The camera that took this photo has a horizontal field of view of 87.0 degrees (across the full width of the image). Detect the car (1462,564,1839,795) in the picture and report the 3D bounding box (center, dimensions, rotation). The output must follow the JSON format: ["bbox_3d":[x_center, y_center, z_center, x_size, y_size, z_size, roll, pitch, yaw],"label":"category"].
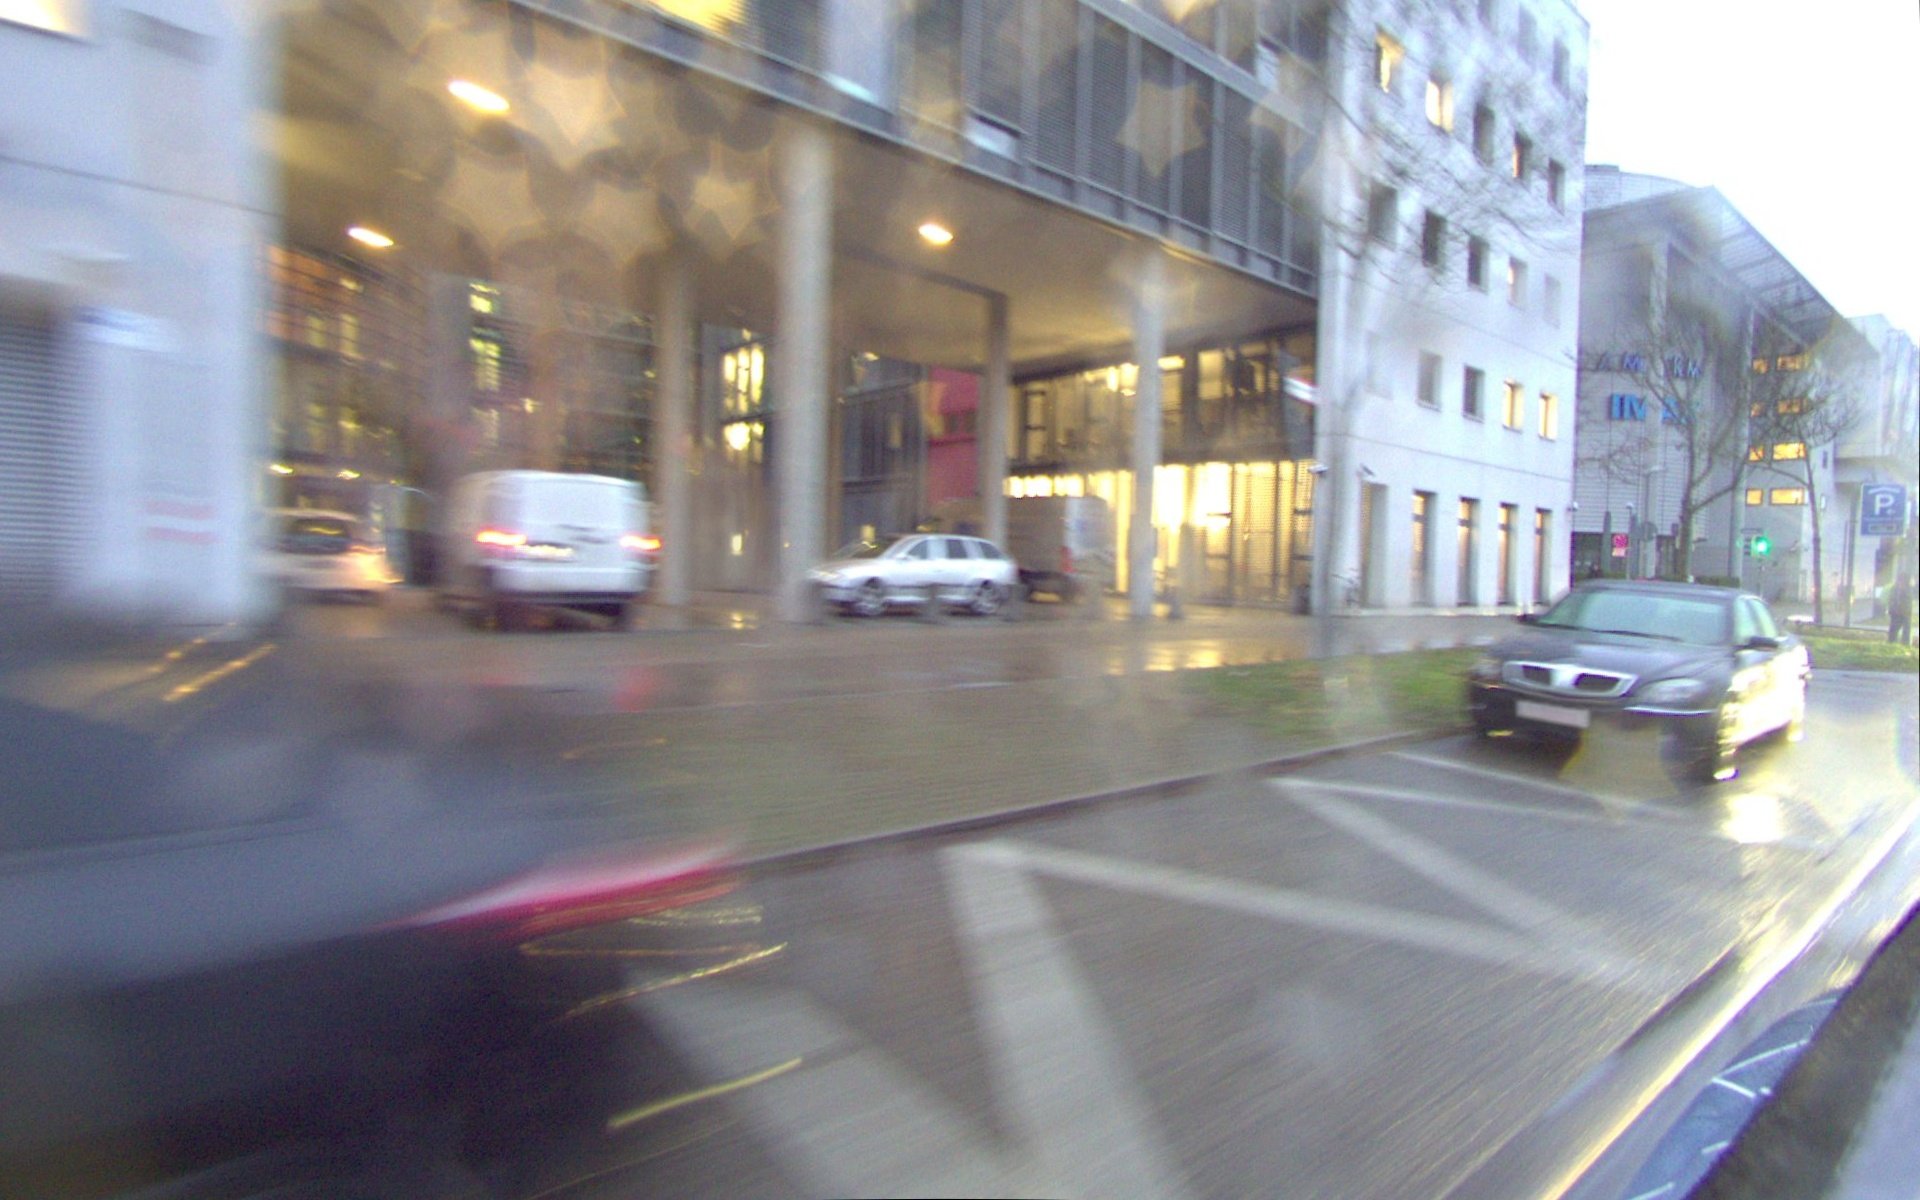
[{"bbox_3d":[5.992,0.476,8.584,4.155,1.458,1.599,-1,4,-41],"label":"car"}]

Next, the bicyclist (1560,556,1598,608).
[{"bbox_3d":[22.634,-0.646,37.011,0.822,1.845,0.733,3,0,-18],"label":"bicyclist"}]

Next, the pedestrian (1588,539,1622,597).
[{"bbox_3d":[19.864,-0.970,31.182,0.691,1.757,0.738,-2,1,-43],"label":"pedestrian"}]

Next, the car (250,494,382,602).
[{"bbox_3d":[-10.583,-0.846,16.643,1.625,1.536,4.003,1,3,-33],"label":"car"}]

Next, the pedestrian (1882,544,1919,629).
[{"bbox_3d":[21.320,-0.309,22.674,0.688,1.829,0.772,-2,7,-44],"label":"pedestrian"}]

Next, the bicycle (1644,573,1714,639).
[{"bbox_3d":[13.448,0.075,18.913,2.129,1.128,0.551,-2,4,-41],"label":"bicycle"}]

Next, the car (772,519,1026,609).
[{"bbox_3d":[-0.957,-0.618,17.755,4.455,1.388,1.633,-2,2,-43],"label":"car"}]

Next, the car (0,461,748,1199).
[{"bbox_3d":[-2.511,0.553,0.997,4.171,1.420,1.759,0,1,-38],"label":"car"}]

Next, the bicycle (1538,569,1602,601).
[{"bbox_3d":[22.470,-0.565,37.314,0.836,1.105,1.872,3,0,-17],"label":"bicycle"}]

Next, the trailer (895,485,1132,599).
[{"bbox_3d":[1.205,-1.471,26.109,2.173,2.613,6.264,0,3,-44],"label":"trailer"}]

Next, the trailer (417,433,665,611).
[{"bbox_3d":[-5.937,-0.936,13.891,2.089,1.935,5.086,2,1,-35],"label":"trailer"}]
